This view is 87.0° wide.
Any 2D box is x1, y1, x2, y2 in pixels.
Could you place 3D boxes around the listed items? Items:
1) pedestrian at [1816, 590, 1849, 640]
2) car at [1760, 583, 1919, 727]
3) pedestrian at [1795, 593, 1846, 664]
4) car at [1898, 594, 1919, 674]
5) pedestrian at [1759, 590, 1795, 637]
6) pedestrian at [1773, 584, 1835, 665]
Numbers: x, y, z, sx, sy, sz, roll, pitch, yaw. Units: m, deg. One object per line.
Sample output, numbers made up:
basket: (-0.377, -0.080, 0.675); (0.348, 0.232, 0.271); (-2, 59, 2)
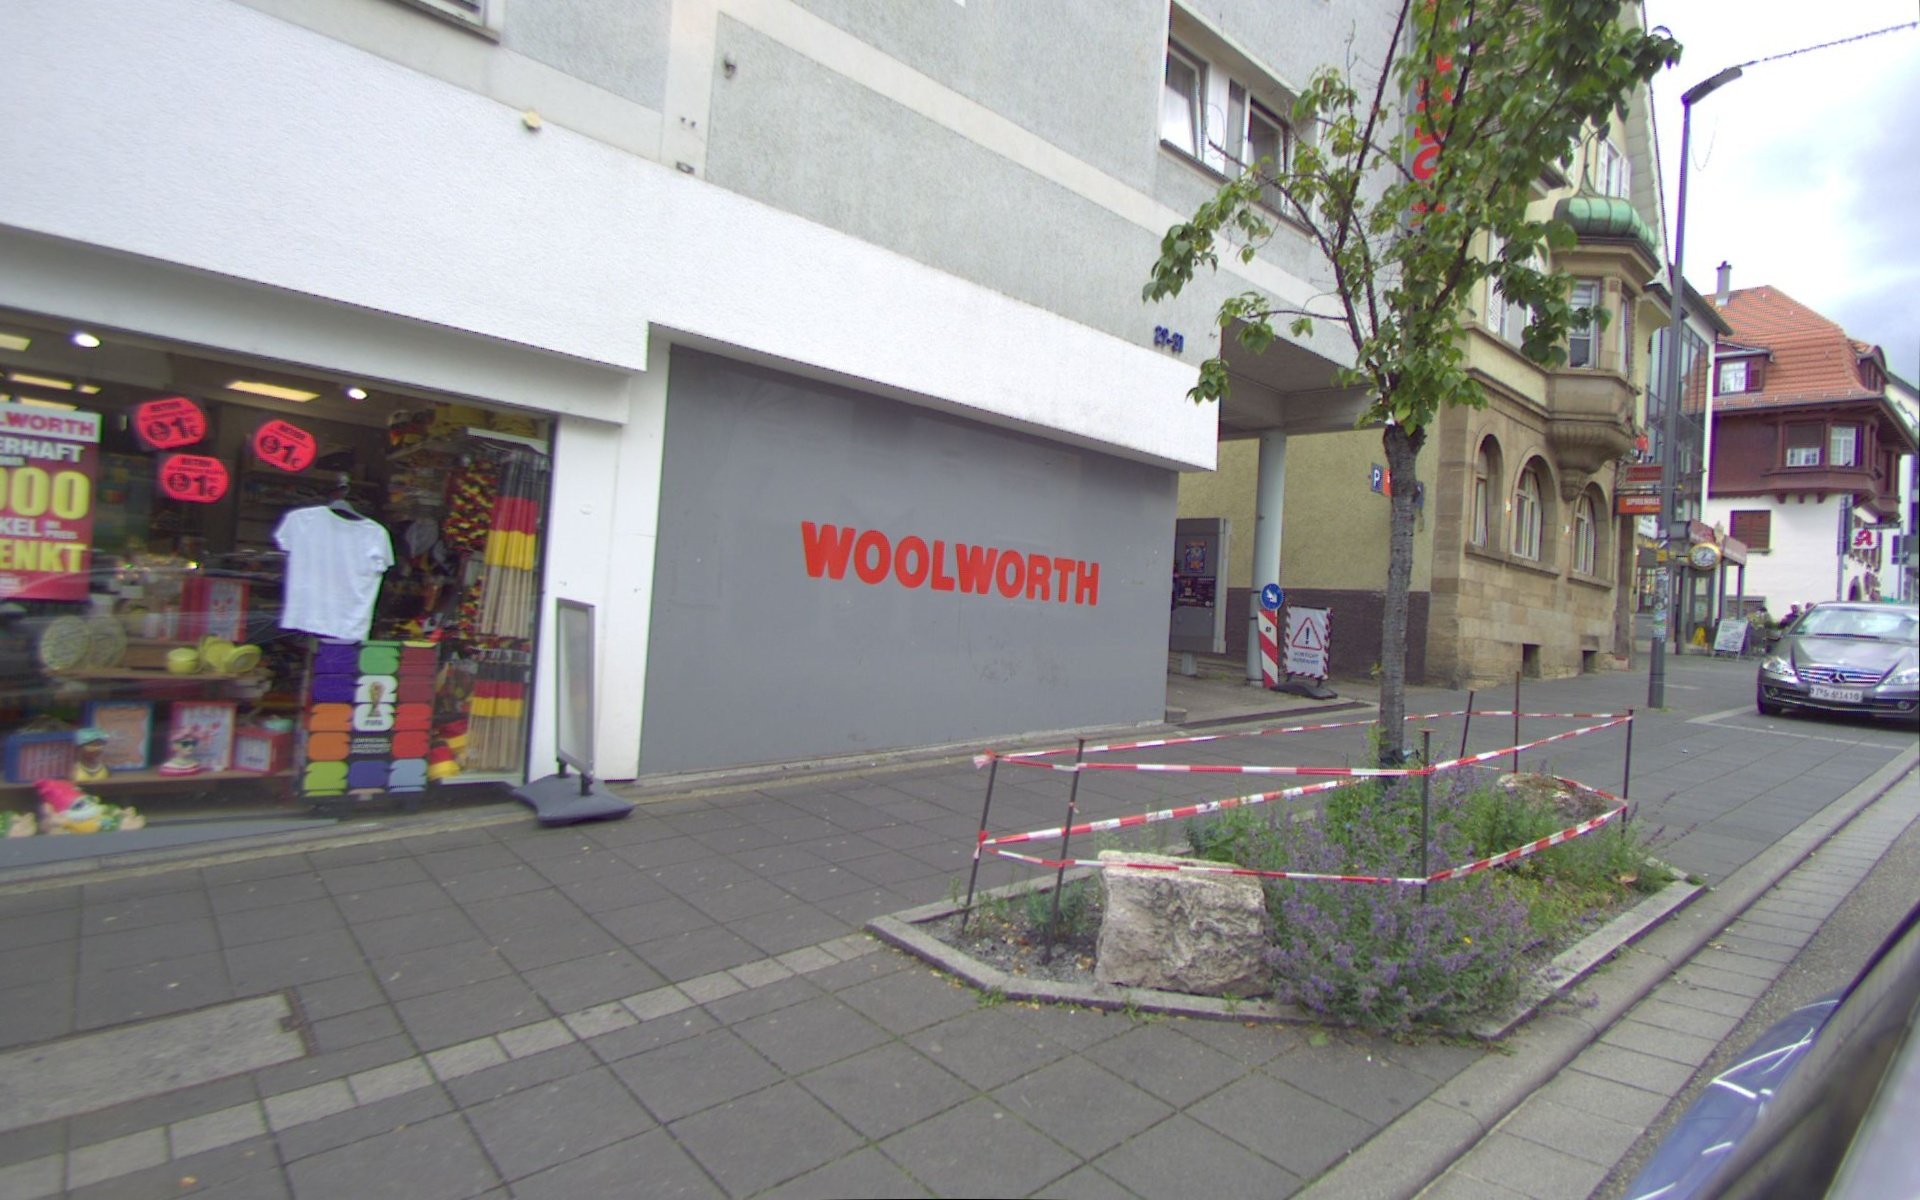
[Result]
pedestrian: (31.860, 0.542, 36.948); (0.803, 1.791, 0.776); (1, 0, -39)
car: (12.414, 0.660, 13.578); (3.730, 1.627, 1.753); (1, 3, -38)
pedestrian: (22.035, 0.704, 25.925); (1.034, 1.748, 0.798); (1, 1, -41)
car: (24.020, 0.815, 23.989); (4.645, 1.822, 1.882); (1, 1, -38)
pedestrian: (30.218, 0.500, 37.441); (0.853, 1.665, 0.775); (1, 2, -35)
pedestrian: (18.260, 0.510, 21.905); (0.786, 1.686, 0.827); (1, 1, -35)
